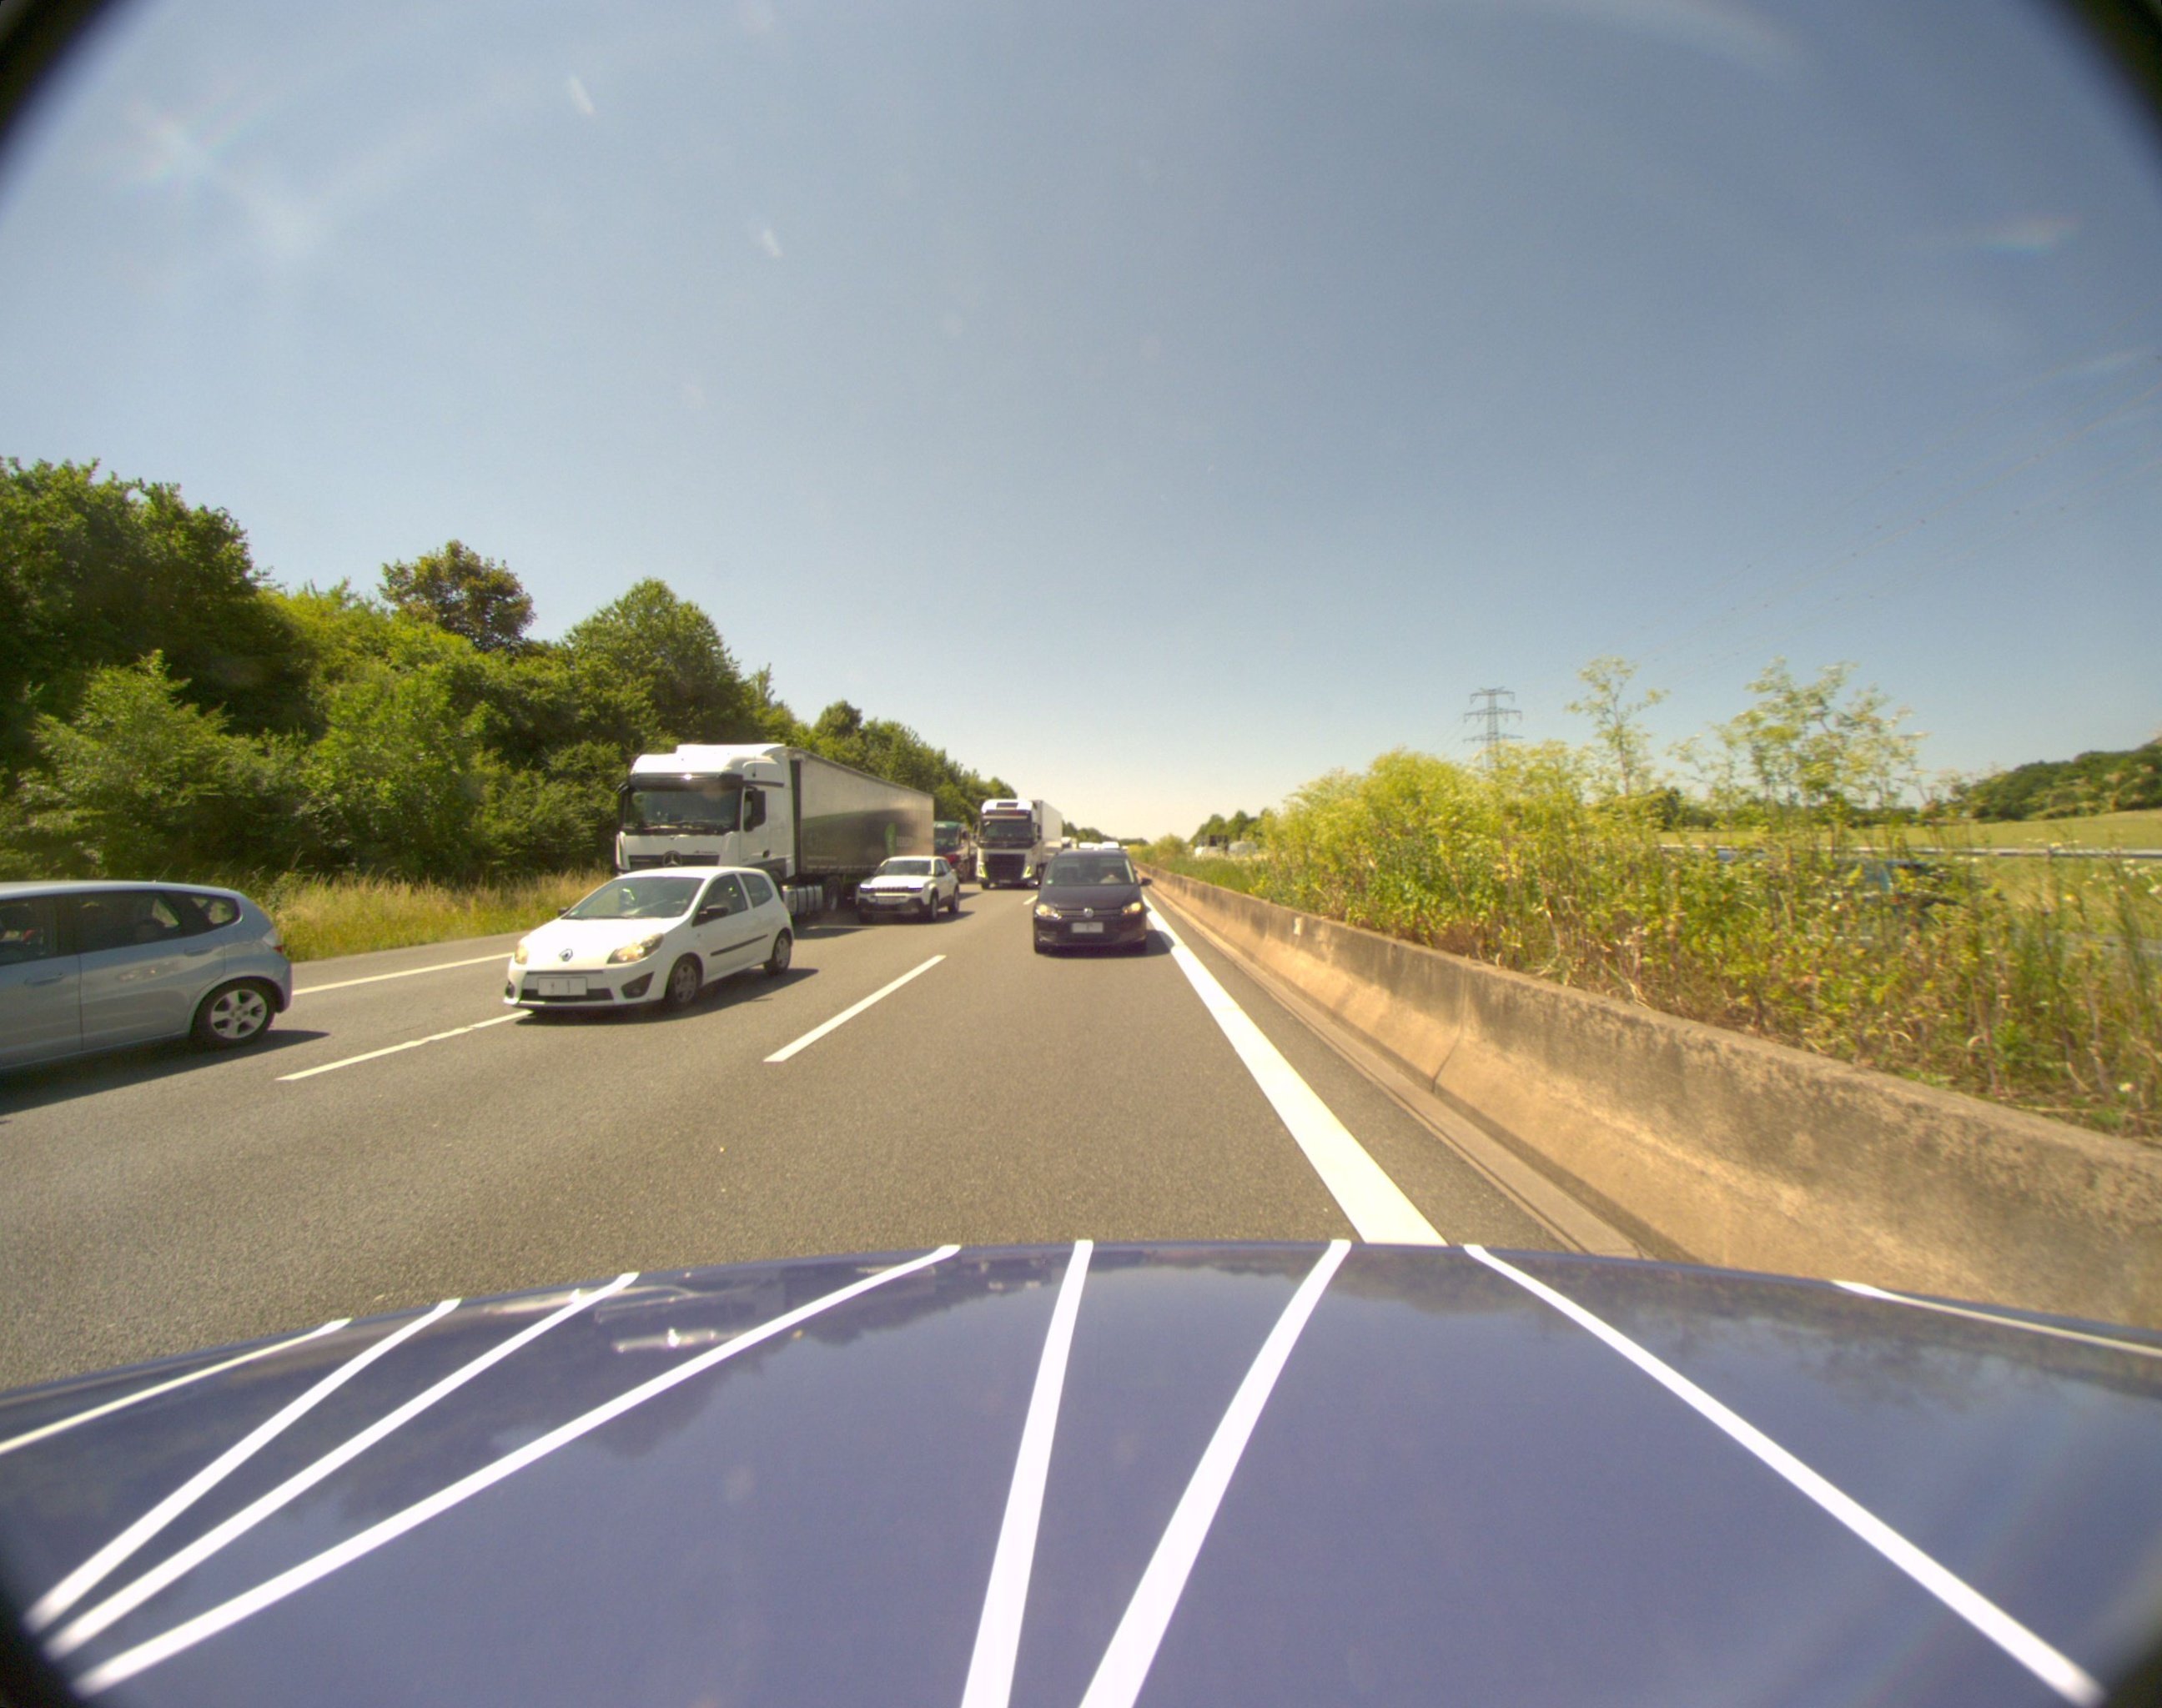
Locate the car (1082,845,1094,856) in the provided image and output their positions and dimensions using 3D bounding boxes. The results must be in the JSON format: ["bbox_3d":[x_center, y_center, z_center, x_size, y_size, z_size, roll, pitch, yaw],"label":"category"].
[{"bbox_3d":[1.056,-0.503,119.489,1.652,1.636,4.000,-1,1,3],"label":"car"}]

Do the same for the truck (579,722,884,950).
[{"bbox_3d":[-7.528,-0.376,18.202,2.879,4.133,8.475,-1,1,3],"label":"truck"}]

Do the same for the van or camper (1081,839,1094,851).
[{"bbox_3d":[1.176,-1.640,135.080,2.189,2.018,4.364,-1,1,3],"label":"van or camper"}]

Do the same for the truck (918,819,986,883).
[{"bbox_3d":[-6.710,-0.194,40.367,2.299,3.128,5.675,-1,1,3],"label":"truck"}]

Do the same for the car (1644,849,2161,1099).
[{"bbox_3d":[7.367,0.720,6.615,1.998,1.460,3.999,-1,1,1],"label":"car"}]

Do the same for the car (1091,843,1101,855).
[{"bbox_3d":[3.064,-1.015,152.992,1.998,2.302,4.229,-1,1,1],"label":"car"}]

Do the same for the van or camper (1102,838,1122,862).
[{"bbox_3d":[3.304,-0.404,79.488,1.956,2.368,4.037,-2,1,3],"label":"van or camper"}]

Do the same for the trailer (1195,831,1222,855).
[{"bbox_3d":[20.343,-1.749,121.442,3.132,3.737,7.869,-1,1,1],"label":"trailer"}]

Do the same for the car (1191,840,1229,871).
[{"bbox_3d":[9.539,0.063,56.449,1.998,2.134,4.600,-2,1,1],"label":"car"}]

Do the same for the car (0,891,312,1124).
[{"bbox_3d":[-8.149,1.100,5.220,1.666,1.453,3.922,0,1,2],"label":"car"}]

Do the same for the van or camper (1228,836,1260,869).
[{"bbox_3d":[14.716,-0.156,68.843,2.053,2.843,4.649,-1,1,2],"label":"van or camper"}]

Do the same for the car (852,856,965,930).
[{"bbox_3d":[-4.117,0.871,18.773,1.748,1.549,3.884,0,1,2],"label":"car"}]

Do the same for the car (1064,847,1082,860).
[{"bbox_3d":[-0.866,-0.038,83.128,1.650,1.336,3.381,-1,1,3],"label":"car"}]

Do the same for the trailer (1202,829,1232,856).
[{"bbox_3d":[20.198,-1.685,113.501,3.190,3.740,8.200,-1,0,2],"label":"trailer"}]

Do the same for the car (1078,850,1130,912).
[{"bbox_3d":[0.722,0.739,22.573,1.357,1.630,2.994,-2,1,3],"label":"car"}]

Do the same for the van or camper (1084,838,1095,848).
[{"bbox_3d":[2.216,-2.876,201.398,2.745,2.680,5.363,-1,1,3],"label":"van or camper"}]

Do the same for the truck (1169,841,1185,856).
[{"bbox_3d":[21.959,-1.276,174.136,2.771,3.269,11.820,-1,1,3],"label":"truck"}]

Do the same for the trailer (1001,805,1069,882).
[{"bbox_3d":[-2.465,-0.619,44.164,2.776,3.951,9.156,-1,1,3],"label":"trailer"}]

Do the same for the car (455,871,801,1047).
[{"bbox_3d":[-4.797,0.988,8.769,1.609,1.426,3.809,0,1,2],"label":"car"}]

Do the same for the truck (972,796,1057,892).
[{"bbox_3d":[-2.915,-0.473,35.832,2.750,3.972,8.361,-1,1,3],"label":"truck"}]

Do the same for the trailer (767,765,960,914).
[{"bbox_3d":[-7.066,-0.494,27.359,2.879,4.133,12.075,-1,1,2],"label":"trailer"}]

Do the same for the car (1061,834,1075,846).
[{"bbox_3d":[-2.210,-2.409,130.256,1.998,2.002,4.000,-1,1,2],"label":"car"}]

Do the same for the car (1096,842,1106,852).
[{"bbox_3d":[4.594,-1.565,172.741,1.998,2.302,4.229,-1,1,3],"label":"car"}]

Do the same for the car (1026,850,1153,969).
[{"bbox_3d":[0.227,0.767,13.256,1.758,1.571,5.291,-1,1,2],"label":"car"}]
